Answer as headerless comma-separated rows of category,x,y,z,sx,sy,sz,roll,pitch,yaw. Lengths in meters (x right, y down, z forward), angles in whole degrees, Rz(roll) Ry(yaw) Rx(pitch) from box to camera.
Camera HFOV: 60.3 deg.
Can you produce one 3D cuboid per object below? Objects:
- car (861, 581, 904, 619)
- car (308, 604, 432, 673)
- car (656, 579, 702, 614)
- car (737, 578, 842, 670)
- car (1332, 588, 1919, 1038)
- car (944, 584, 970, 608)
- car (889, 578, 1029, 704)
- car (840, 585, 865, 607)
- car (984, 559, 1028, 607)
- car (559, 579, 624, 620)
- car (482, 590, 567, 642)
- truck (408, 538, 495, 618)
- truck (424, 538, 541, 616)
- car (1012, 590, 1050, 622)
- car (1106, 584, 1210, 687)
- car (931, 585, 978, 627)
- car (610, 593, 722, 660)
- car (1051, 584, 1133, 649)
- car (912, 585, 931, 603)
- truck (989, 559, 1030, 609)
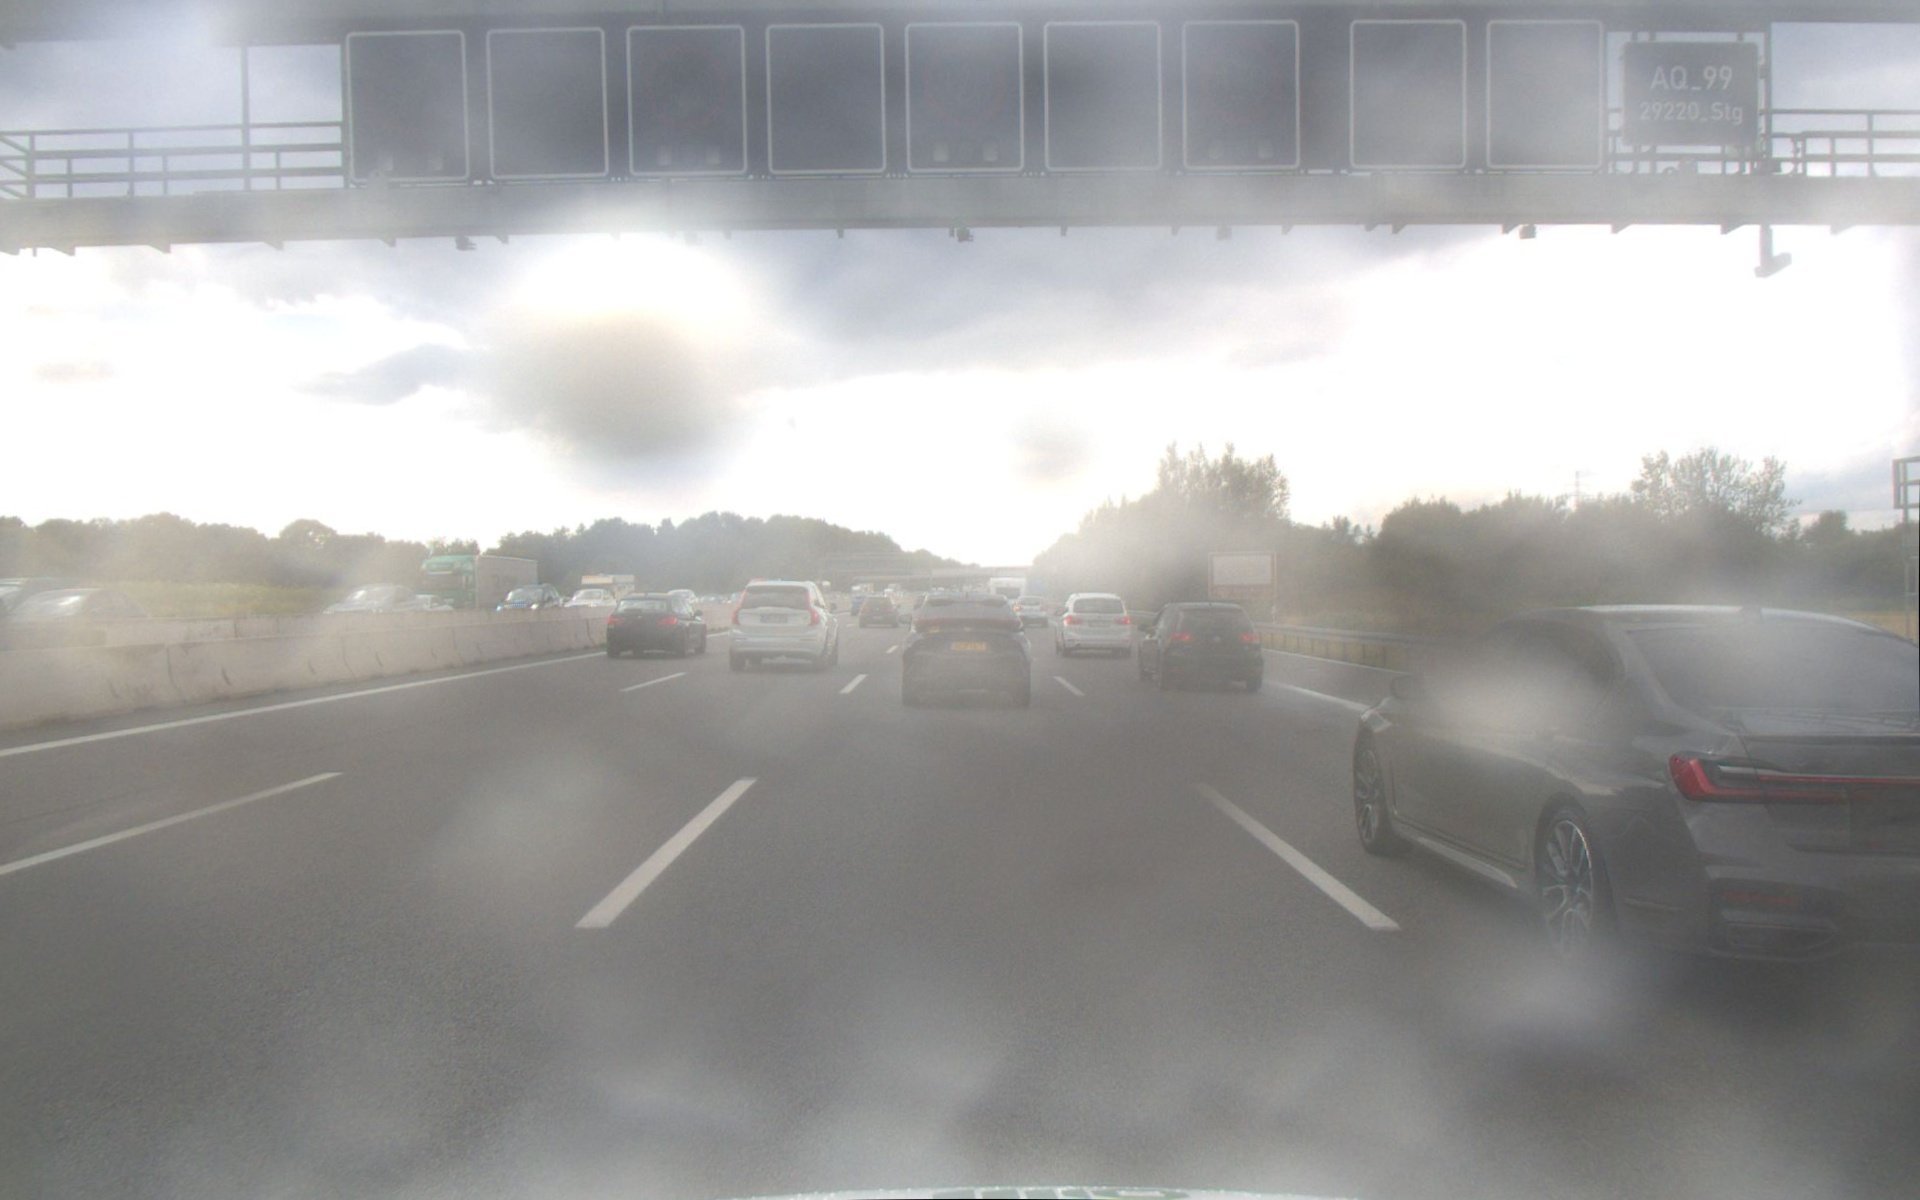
car,-3.588,-0.001,76.915,1.843,1.715,3.999,0,0,-1
car,-17.672,1.097,49.812,1.953,1.918,5.185,0,0,-1
car,-16.991,-0.230,100.307,1.953,2.049,4.763,0,0,0
car,-3.412,0.443,33.747,1.744,1.746,4.352,0,0,-1
car,3.318,0.704,7.987,1.900,1.517,4.775,0,0,-1
car,-0.225,-0.300,121.861,1.843,1.715,3.999,0,0,-1
car,-0.115,0.520,23.986,1.745,1.641,4.594,0,0,-4
car,-7.490,-0.257,115.221,1.531,1.503,3.919,0,0,-1
car,2.890,-1.072,105.519,2.515,2.946,7.532,0,0,-1
car,-17.697,-0.069,79.678,1.953,1.885,5.078,0,1,0
car,-16.947,0.571,64.616,1.953,1.931,5.186,0,0,0
truck,-28.595,-1.229,93.323,3.054,4.356,5.911,0,0,0
truck,-28.660,-1.330,100.226,3.083,4.388,13.951,0,0,0
car,3.487,0.283,81.472,1.758,1.503,4.038,0,0,1
car,3.420,0.557,29.017,1.671,1.659,4.460,0,0,5
car,-0.265,0.234,69.388,1.843,1.715,3.998,0,0,-2
car,-6.961,0.588,39.568,1.744,1.507,4.354,0,0,2
car,3.420,0.389,43.527,1.773,1.627,4.695,0,0,0
car,-3.824,-0.629,164.961,1.843,1.715,3.999,0,0,-1
truck,3.831,-1.262,130.660,3.069,3.774,9.848,0,0,1
